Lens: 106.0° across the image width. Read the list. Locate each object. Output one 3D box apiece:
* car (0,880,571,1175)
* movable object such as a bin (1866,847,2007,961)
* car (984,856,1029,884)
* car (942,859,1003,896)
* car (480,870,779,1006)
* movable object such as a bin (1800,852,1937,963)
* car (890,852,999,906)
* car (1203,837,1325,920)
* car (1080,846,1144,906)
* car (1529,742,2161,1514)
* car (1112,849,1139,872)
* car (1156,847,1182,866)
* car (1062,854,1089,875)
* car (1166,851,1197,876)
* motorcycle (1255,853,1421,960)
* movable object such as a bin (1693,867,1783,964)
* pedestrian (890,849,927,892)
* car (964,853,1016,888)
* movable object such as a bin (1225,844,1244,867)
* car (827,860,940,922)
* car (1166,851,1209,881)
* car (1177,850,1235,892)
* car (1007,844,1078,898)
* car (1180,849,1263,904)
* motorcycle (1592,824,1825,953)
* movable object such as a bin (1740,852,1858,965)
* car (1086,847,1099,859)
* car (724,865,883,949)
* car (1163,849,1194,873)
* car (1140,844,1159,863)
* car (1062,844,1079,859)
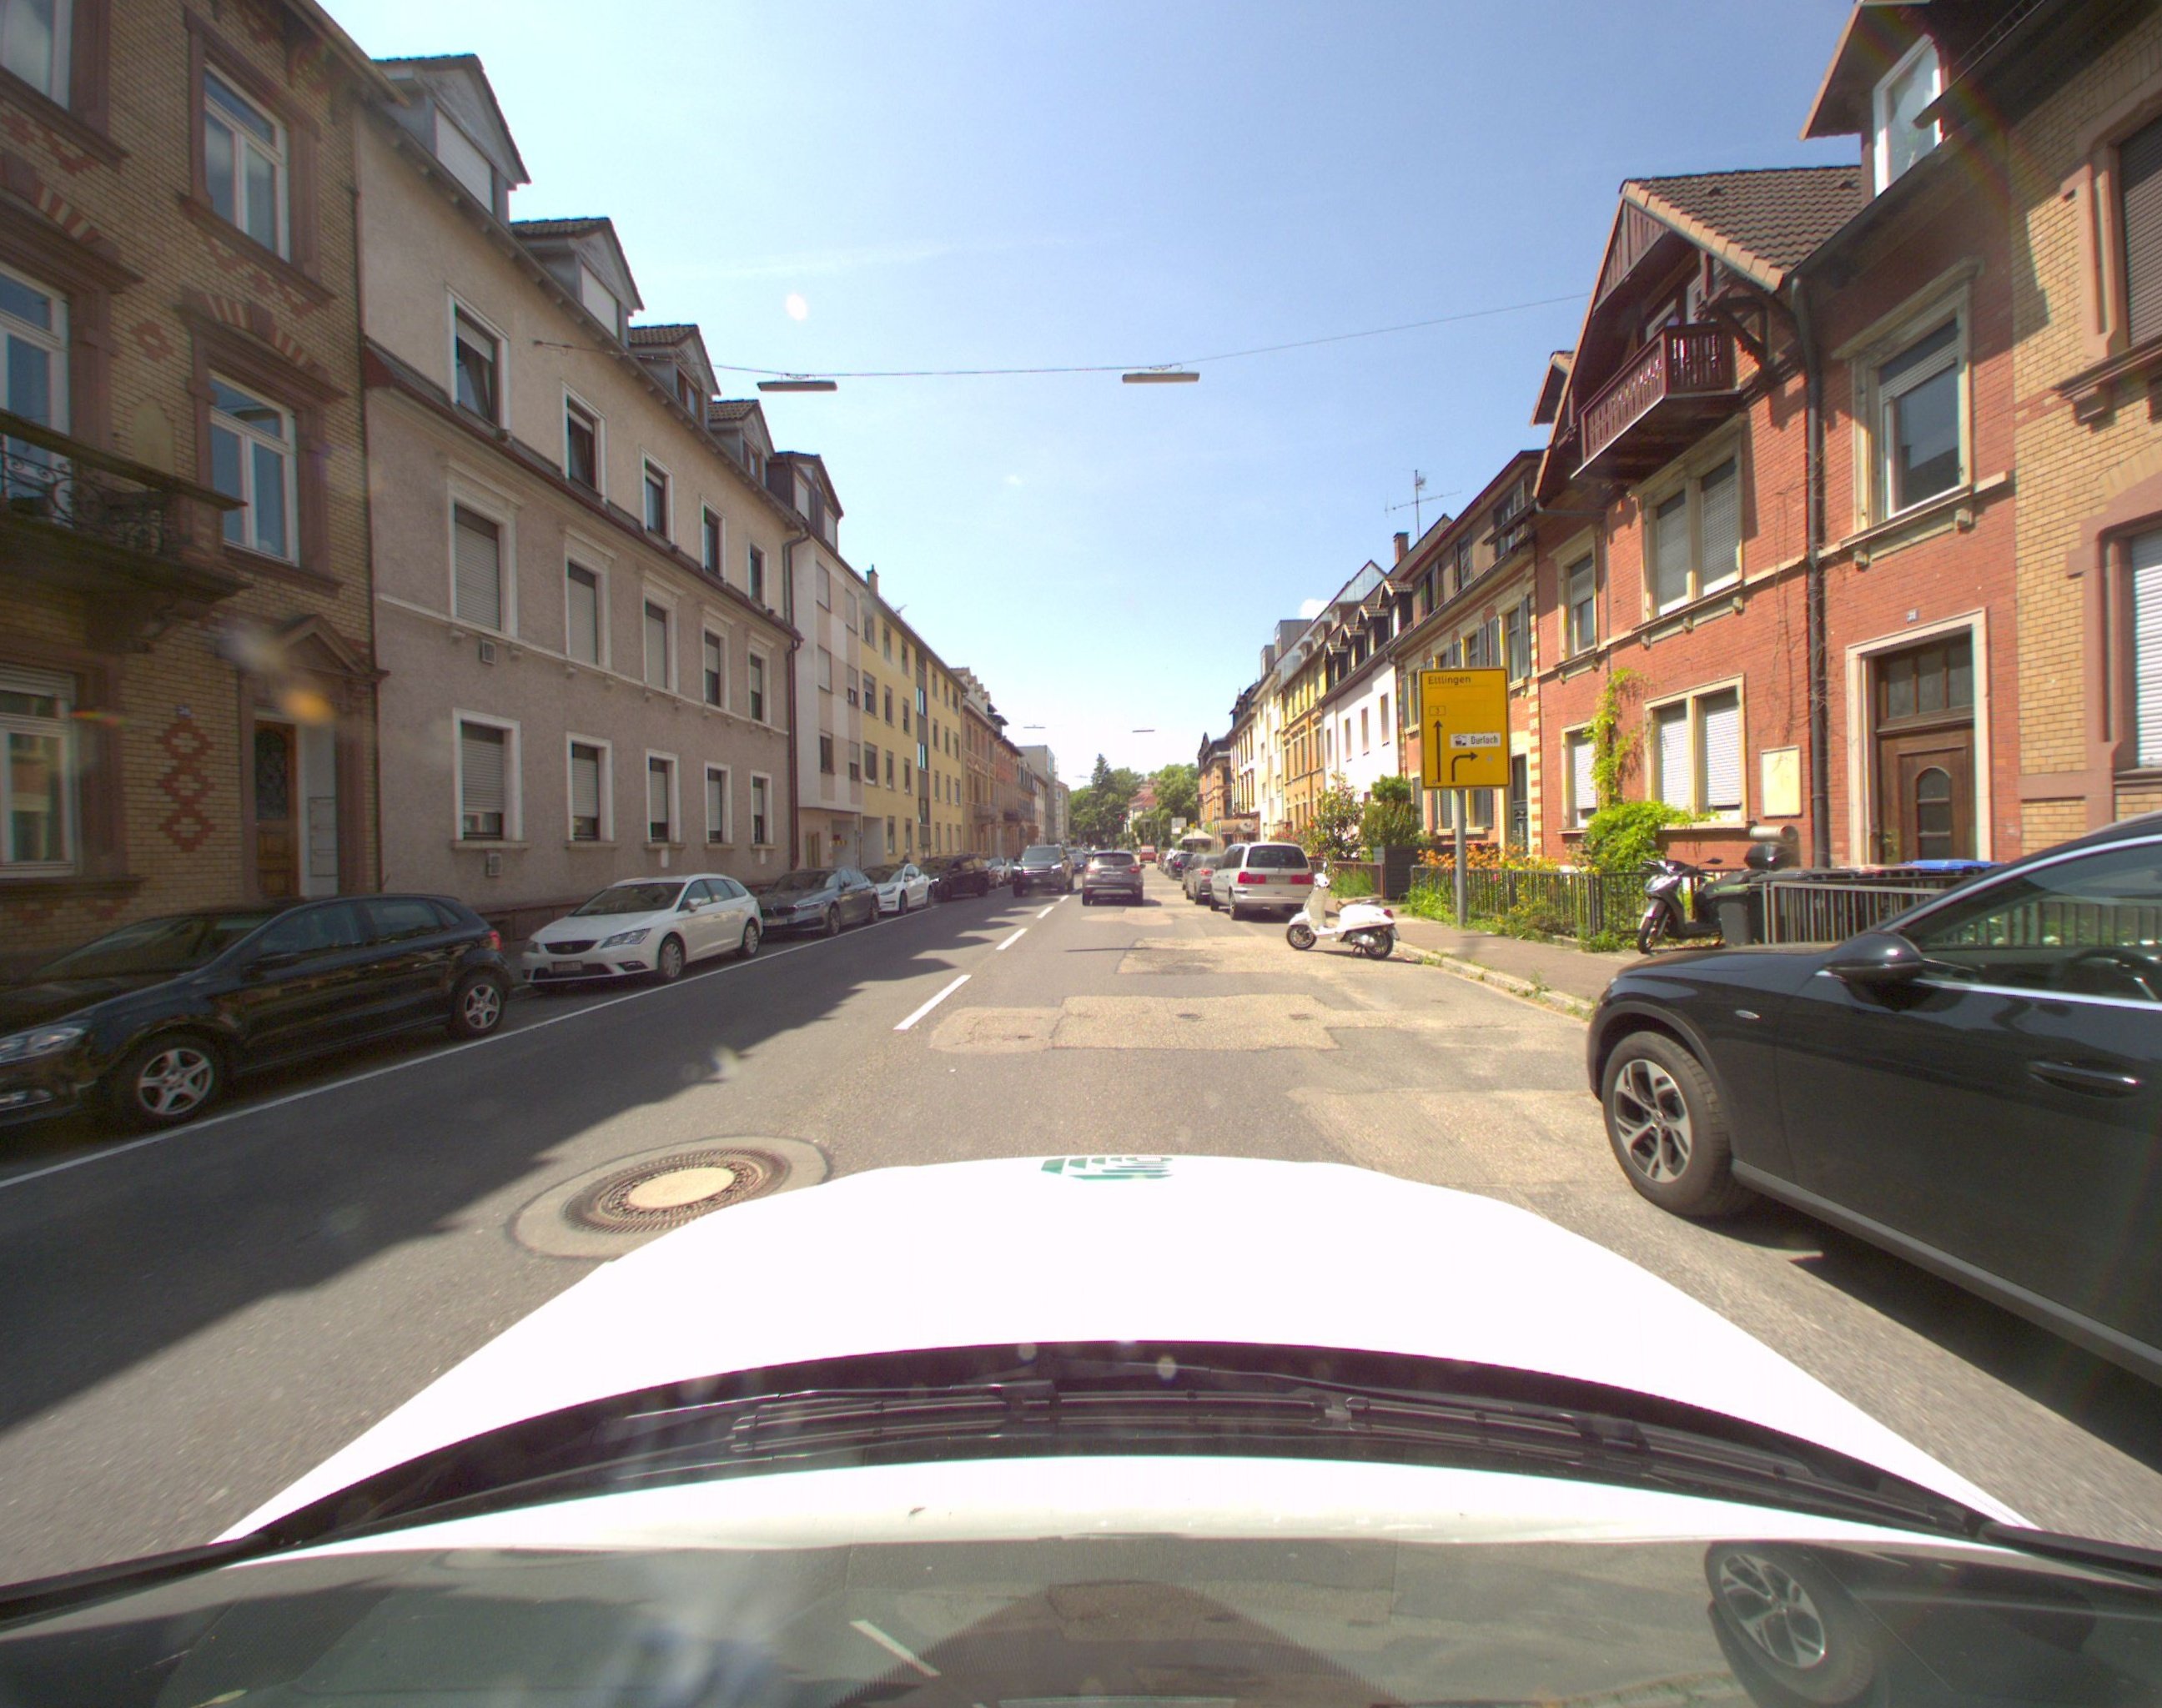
[{"bbox_3d":[-6.628,1.092,6.597,1.832,1.422,4.506,-6,0,3],"label":"car"},{"bbox_3d":[8.639,0.483,8.255,0.606,1.076,0.762,-2,0,3],"label":"movable object such as a bin"},{"bbox_3d":[-4.292,0.899,47.860,1.897,1.401,4.758,-4,0,3],"label":"car"},{"bbox_3d":[-4.832,1.021,36.756,1.897,1.379,4.065,-4,0,3],"label":"car"},{"bbox_3d":[-6.335,1.067,12.171,1.834,1.422,4.502,-4,0,0],"label":"car"},{"bbox_3d":[7.972,0.517,8.278,0.656,1.055,0.749,-2,0,3],"label":"movable object such as a bin"},{"bbox_3d":[-4.943,0.862,30.195,1.889,1.637,4.581,-4,0,20],"label":"car"},{"bbox_3d":[4.209,0.491,19.490,1.855,1.747,4.617,0,1,-1],"label":"car"},{"bbox_3d":[0.957,0.607,24.523,1.737,1.616,4.003,-1,0,2],"label":"car"},{"bbox_3d":[3.298,0.548,1.955,1.986,1.662,4.628,-3,0,2],"label":"car"},{"bbox_3d":[3.473,0.495,64.053,1.806,1.620,4.442,-3,0,1],"label":"car"},{"bbox_3d":[6.920,0.163,64.193,1.606,1.443,3.437,-1,0,0],"label":"car"},{"bbox_3d":[-0.352,0.728,58.937,1.810,1.388,4.000,-2,0,1],"label":"car"},{"bbox_3d":[6.106,0.535,49.772,1.652,1.440,4.004,-1,1,4],"label":"car"},{"bbox_3d":[3.675,0.706,11.715,1.970,1.385,1.120,-1,0,40],"label":"motorcycle"},{"bbox_3d":[6.768,0.619,8.408,0.479,0.941,0.526,-2,0,3],"label":"movable object such as a bin"},{"bbox_3d":[-7.175,0.683,33.862,1.140,1.750,0.975,-2,0,43],"label":"pedestrian"},{"bbox_3d":[-4.608,0.810,41.665,1.897,1.510,4.305,-4,0,2],"label":"car"},{"bbox_3d":[9.659,0.079,51.206,1.038,1.402,1.256,-1,0,5],"label":"movable object such as a bin"},{"bbox_3d":[-5.637,1.005,23.830,1.832,1.422,4.562,-5,0,3],"label":"car"},{"bbox_3d":[5.548,0.591,42.890,1.853,1.465,4.621,0,1,2],"label":"car"},{"bbox_3d":[4.723,0.600,31.360,1.689,1.487,4.621,0,1,2],"label":"car"},{"bbox_3d":[-1.376,0.567,31.221,1.984,1.792,5.155,-3,0,5],"label":"car"},{"bbox_3d":[4.159,0.617,24.714,1.854,1.487,4.310,0,1,1],"label":"car"},{"bbox_3d":[7.827,0.415,10.242,2.121,1.408,0.938,-4,0,1],"label":"motorcycle"},{"bbox_3d":[7.325,0.533,8.337,0.554,1.076,0.728,-2,0,3],"label":"movable object such as a bin"},{"bbox_3d":[1.728,-0.135,120.280,1.932,1.626,4.000,-1,-1,1],"label":"car"},{"bbox_3d":[-5.923,1.048,18.049,1.834,1.422,4.645,-4,0,0],"label":"car"},{"bbox_3d":[6.419,0.431,54.022,1.852,1.553,4.004,0,1,4],"label":"car"},{"bbox_3d":[7.923,-0.059,93.988,1.983,2.013,4.475,-3,0,7],"label":"car"},{"bbox_3d":[-1.366,-0.346,108.992,1.896,1.821,4.307,-3,0,4],"label":"car"}]
